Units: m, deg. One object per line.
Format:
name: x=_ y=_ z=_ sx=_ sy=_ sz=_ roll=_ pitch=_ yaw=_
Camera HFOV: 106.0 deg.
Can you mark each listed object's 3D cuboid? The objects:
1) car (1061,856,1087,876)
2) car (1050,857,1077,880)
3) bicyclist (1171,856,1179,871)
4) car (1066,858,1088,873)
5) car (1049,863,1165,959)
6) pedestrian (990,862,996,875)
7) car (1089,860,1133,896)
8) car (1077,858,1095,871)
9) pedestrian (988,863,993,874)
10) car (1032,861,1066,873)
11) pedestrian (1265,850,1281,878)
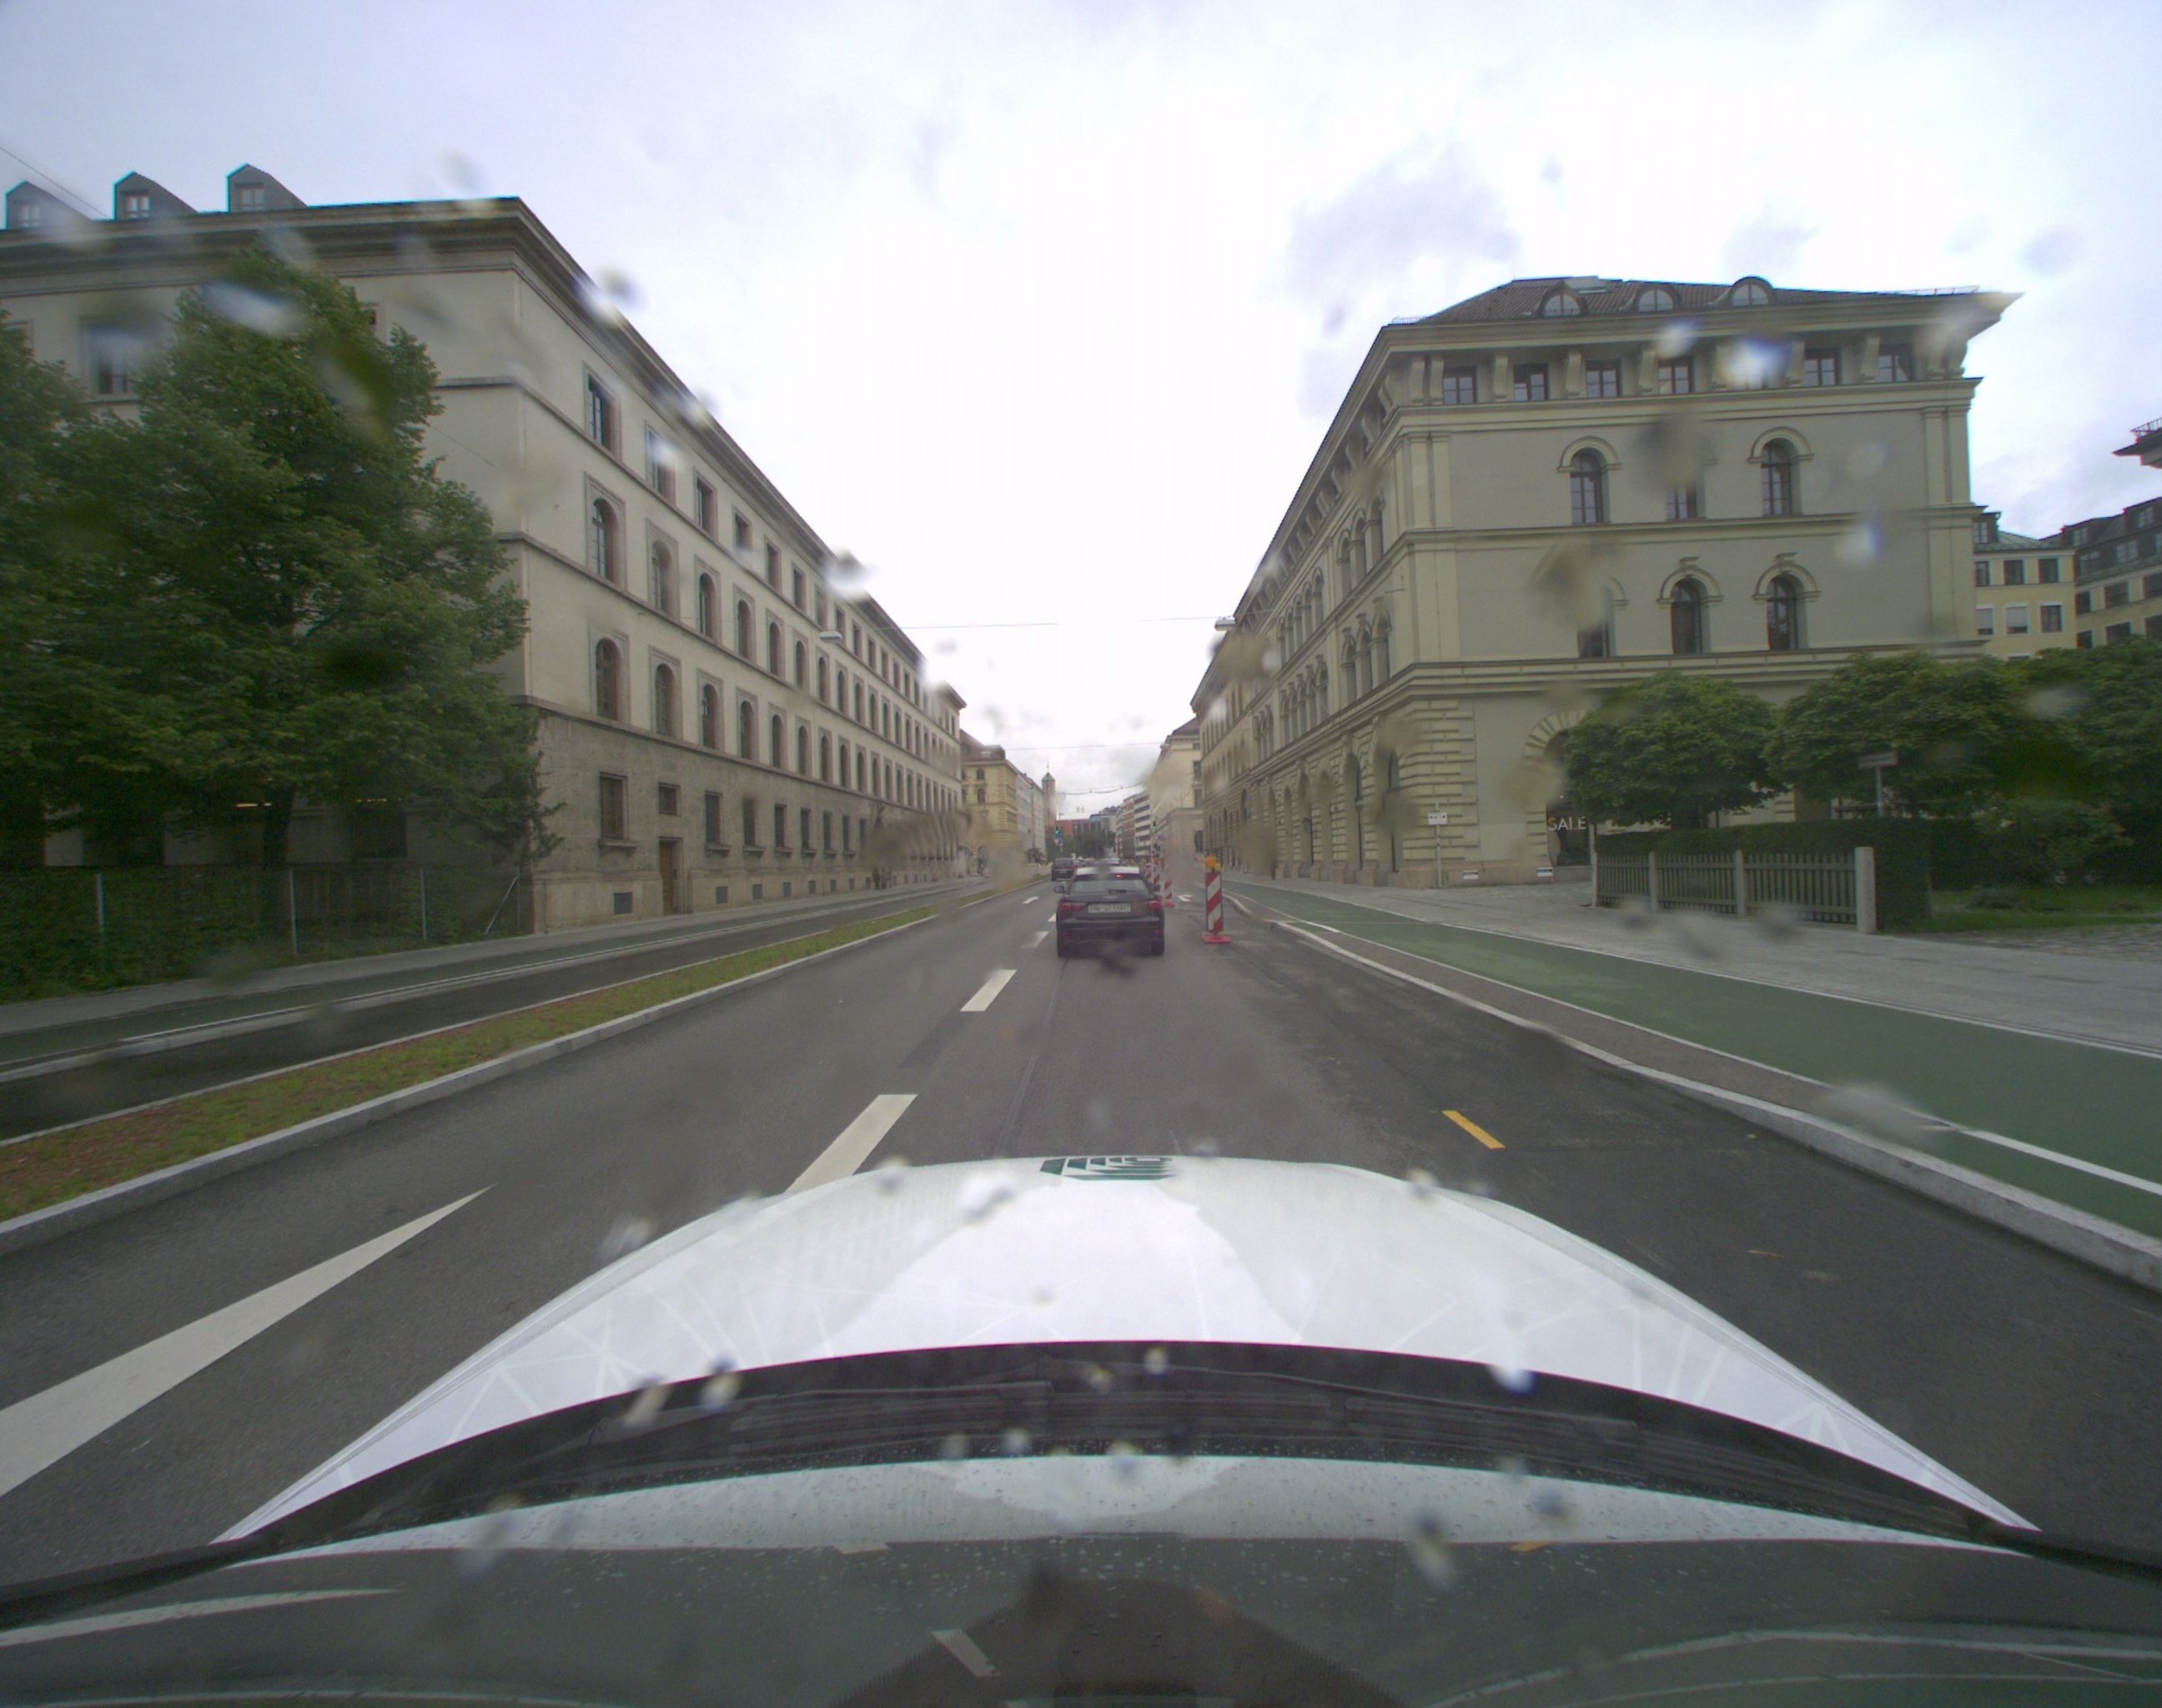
car: x=-0.601 y=1.003 z=71.394 sx=1.986 sy=1.627 sz=4.002 roll=-2 pitch=0 yaw=2
car: x=-1.247 y=1.053 z=59.384 sx=1.758 sy=1.616 sz=4.031 roll=-1 pitch=0 yaw=2
bicyclist: x=9.313 y=0.920 z=80.847 sx=0.707 sy=1.500 sz=0.755 roll=-2 pitch=-1 yaw=4
car: x=-0.349 y=1.163 z=83.301 sx=1.986 sy=1.444 sz=4.002 roll=-2 pitch=0 yaw=2
car: x=0.457 y=0.884 z=14.277 sx=1.723 sy=1.403 sz=4.002 roll=-1 pitch=0 yaw=2
pedestrian: x=-12.346 y=2.008 z=113.994 sx=0.653 sy=1.805 sz=0.727 roll=-2 pitch=-1 yaw=1
car: x=1.267 y=0.961 z=34.210 sx=1.723 sy=1.403 sz=4.002 roll=-1 pitch=0 yaw=2
car: x=0.602 y=1.261 z=95.634 sx=1.986 sy=1.444 sz=4.002 roll=-2 pitch=0 yaw=2
pedestrian: x=-13.687 y=2.196 z=123.020 sx=0.653 sy=1.693 sz=0.727 roll=-2 pitch=-1 yaw=1
car: x=-3.958 y=1.583 z=99.937 sx=3.821 sy=1.398 sz=1.748 roll=-2 pitch=-1 yaw=-16
pedestrian: x=11.212 y=0.585 z=47.547 sx=0.707 sy=1.618 sz=0.754 roll=-2 pitch=-1 yaw=1
